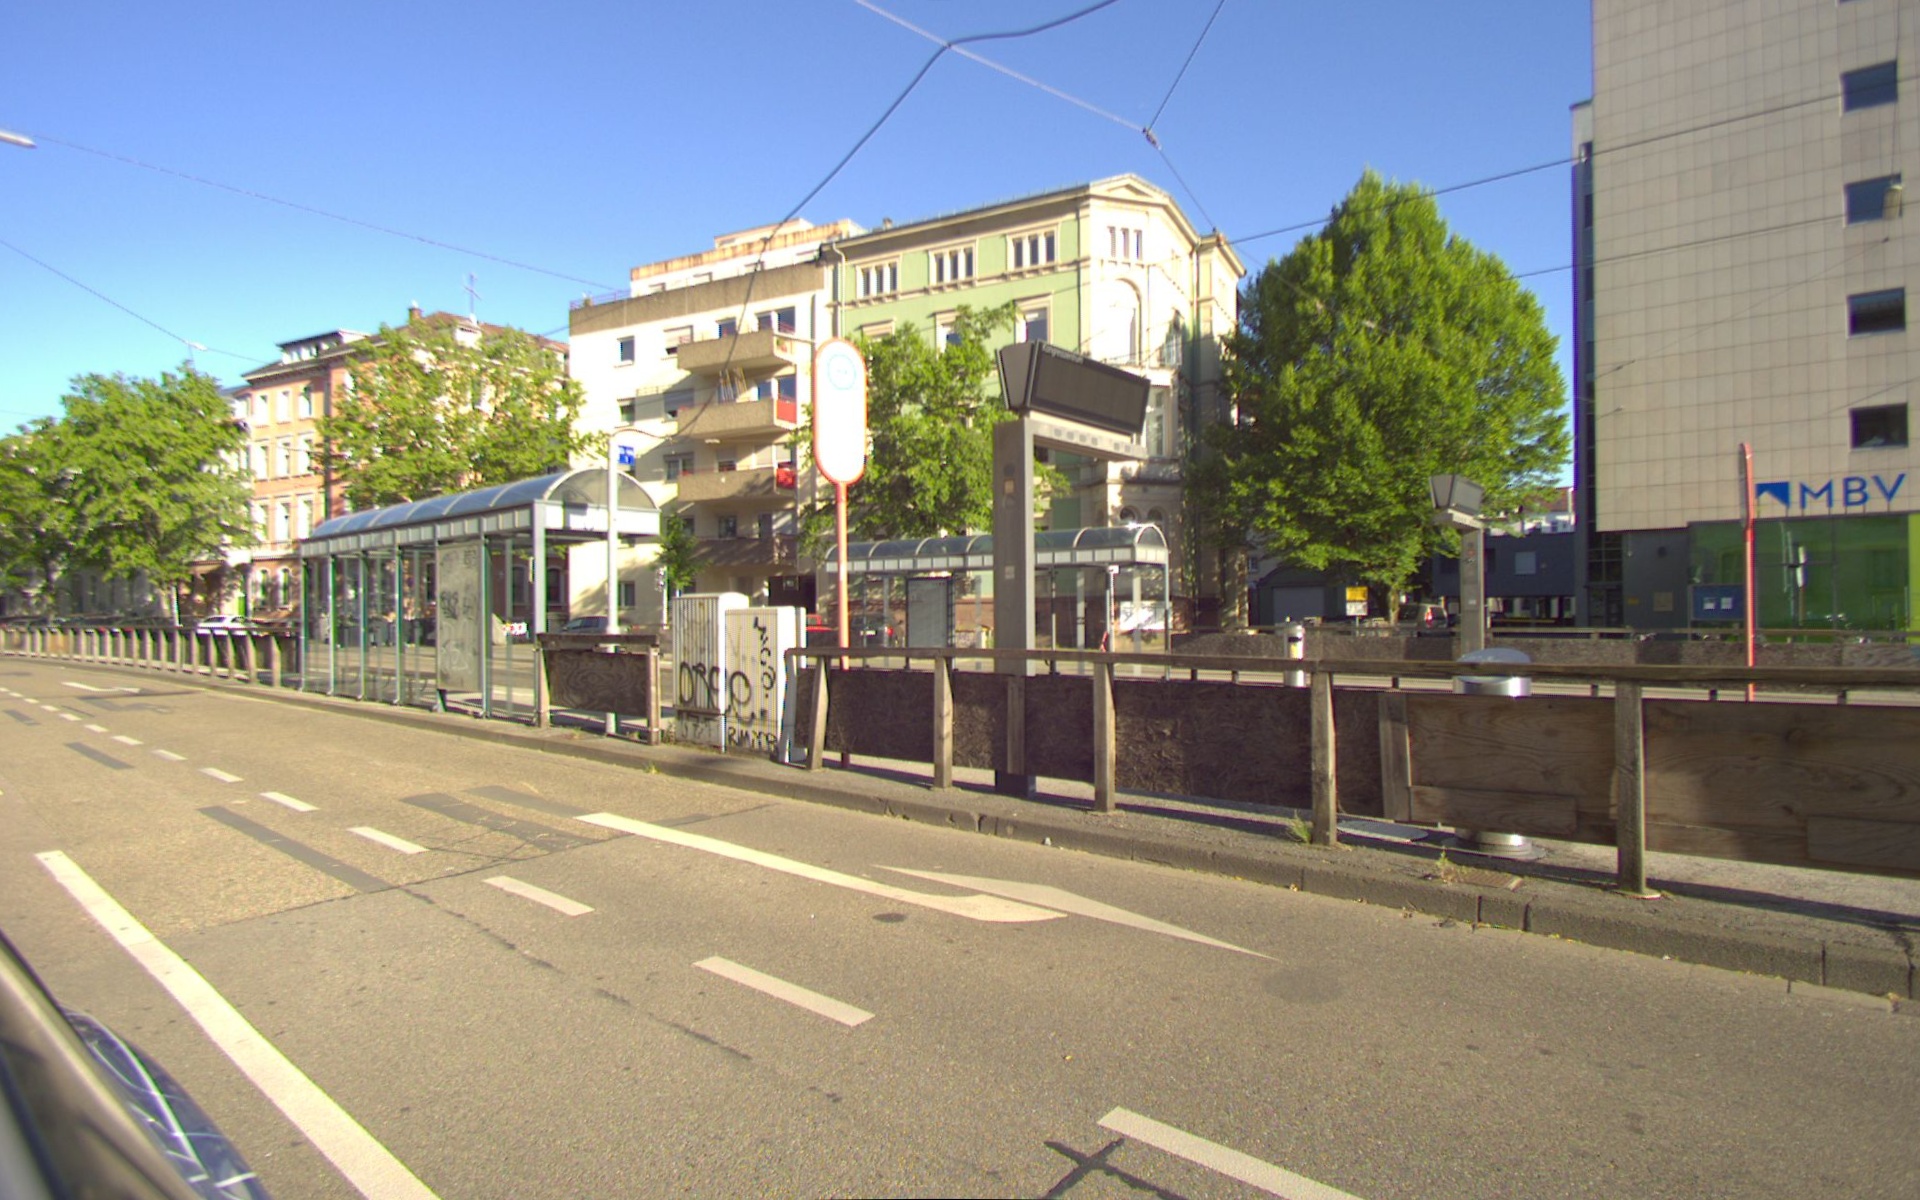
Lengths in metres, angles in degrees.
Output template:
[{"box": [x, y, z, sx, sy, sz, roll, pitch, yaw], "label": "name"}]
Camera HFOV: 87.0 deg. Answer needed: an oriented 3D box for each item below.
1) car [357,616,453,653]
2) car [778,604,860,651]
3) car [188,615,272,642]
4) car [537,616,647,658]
[{"box": [-23.978, 1.479, 43.697, 3.987, 1.541, 1.978, -1, -2, 32], "label": "car"}, {"box": [-6.389, 1.243, 46.113, 1.791, 2.029, 3.963, -1, -1, 27], "label": "car"}, {"box": [-39.078, 1.518, 54.272, 1.565, 1.360, 3.631, 0, -1, 11], "label": "car"}, {"box": [-14.120, 1.385, 38.805, 3.987, 1.541, 1.978, -1, -2, 32], "label": "car"}]
